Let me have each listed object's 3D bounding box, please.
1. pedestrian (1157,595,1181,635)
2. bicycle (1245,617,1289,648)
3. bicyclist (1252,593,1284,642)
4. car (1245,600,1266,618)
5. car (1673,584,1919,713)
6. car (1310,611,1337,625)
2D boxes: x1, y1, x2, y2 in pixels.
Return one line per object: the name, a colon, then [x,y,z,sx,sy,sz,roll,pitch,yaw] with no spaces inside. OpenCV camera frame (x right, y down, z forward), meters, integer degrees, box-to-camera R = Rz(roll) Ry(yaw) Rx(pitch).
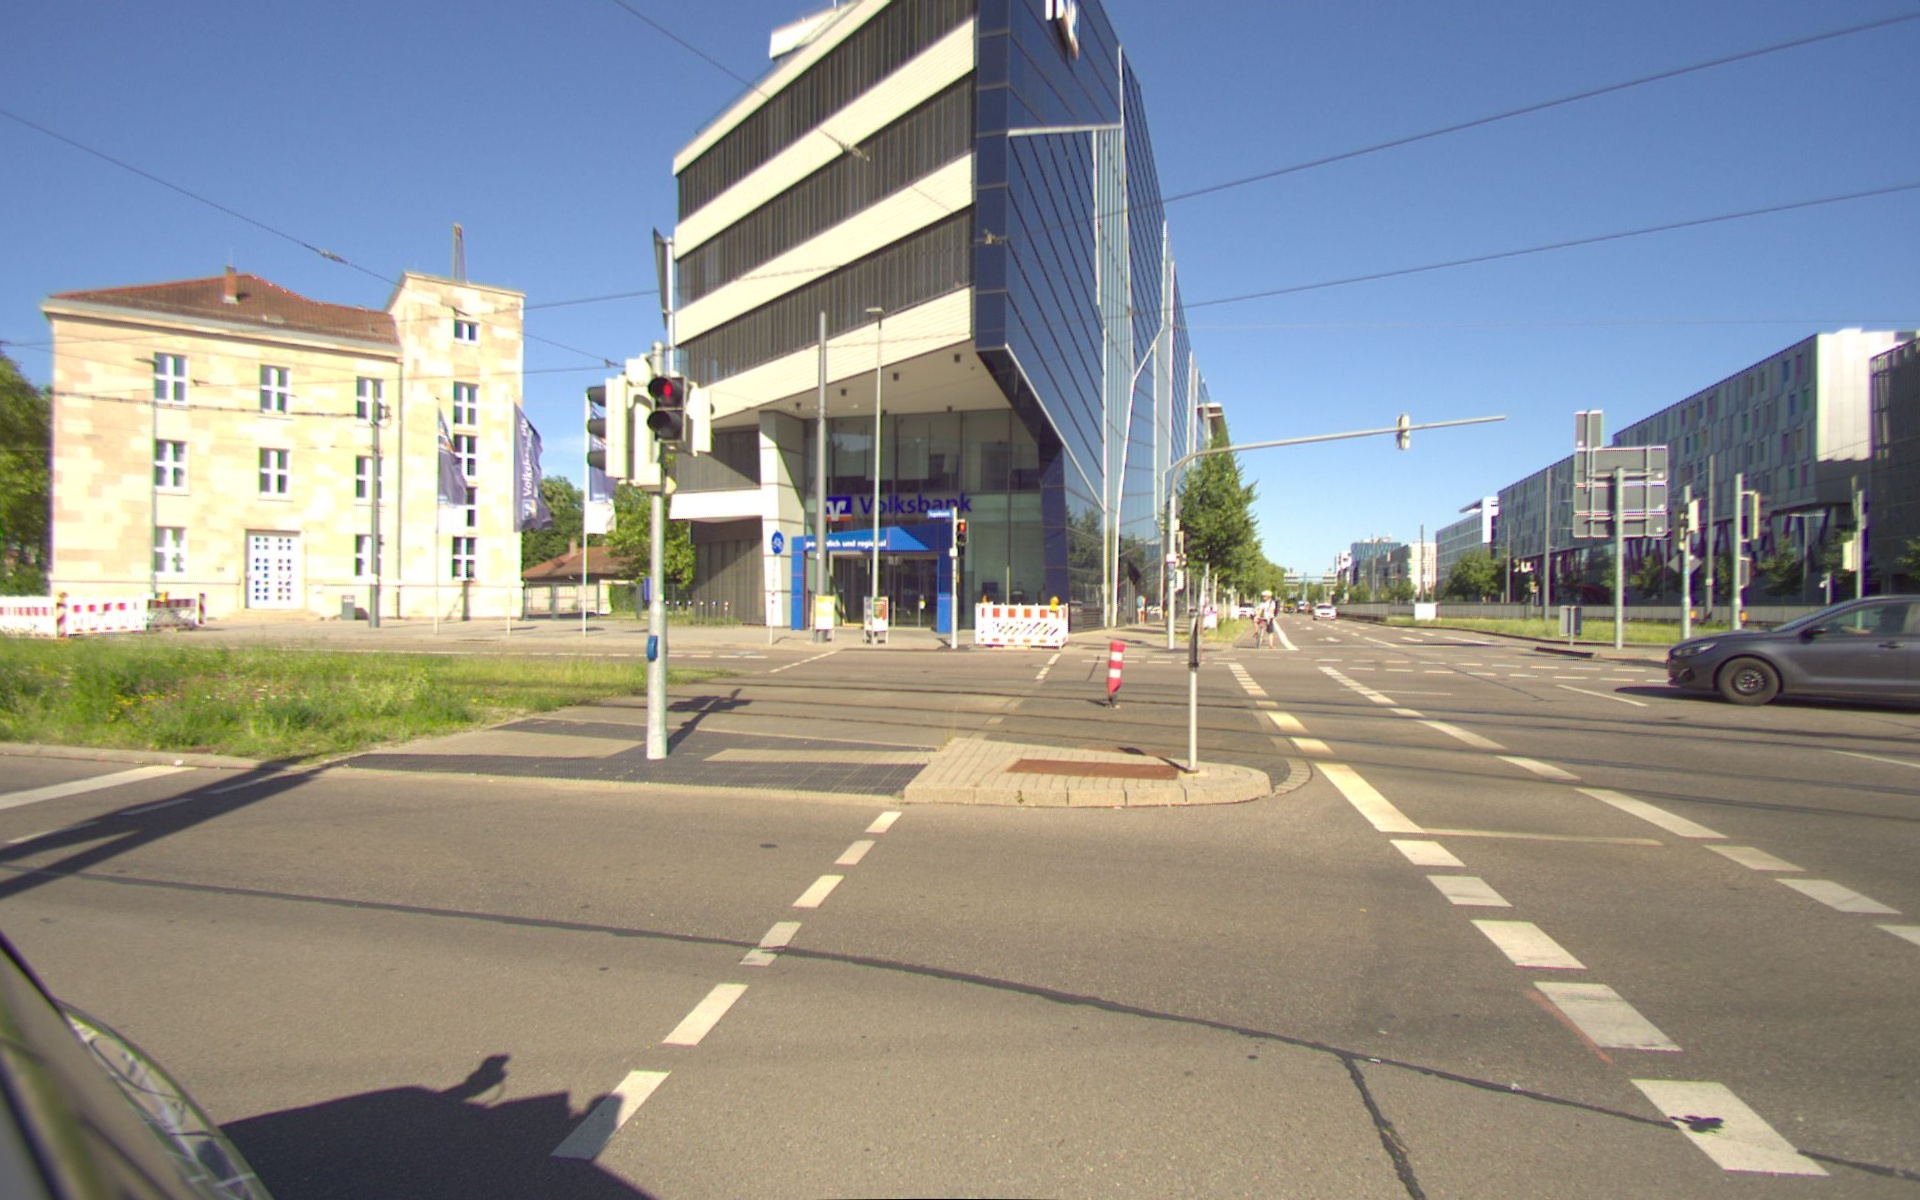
pedestrian: [8.309,0.598,40.166,0.851,1.567,0.609,0,0,21]
bicycle: [8.909,0.961,29.302,0.767,0.846,2.544,0,-2,27]
bicyclist: [8.937,0.498,29.326,0.758,1.420,0.764,0,0,28]
car: [29.252,0.896,100.078,1.983,1.741,3.978,0,0,17]
car: [11.709,0.575,12.773,4.306,1.511,1.973,0,0,40]
car: [31.908,1.559,88.932,1.983,1.098,3.978,0,0,17]
